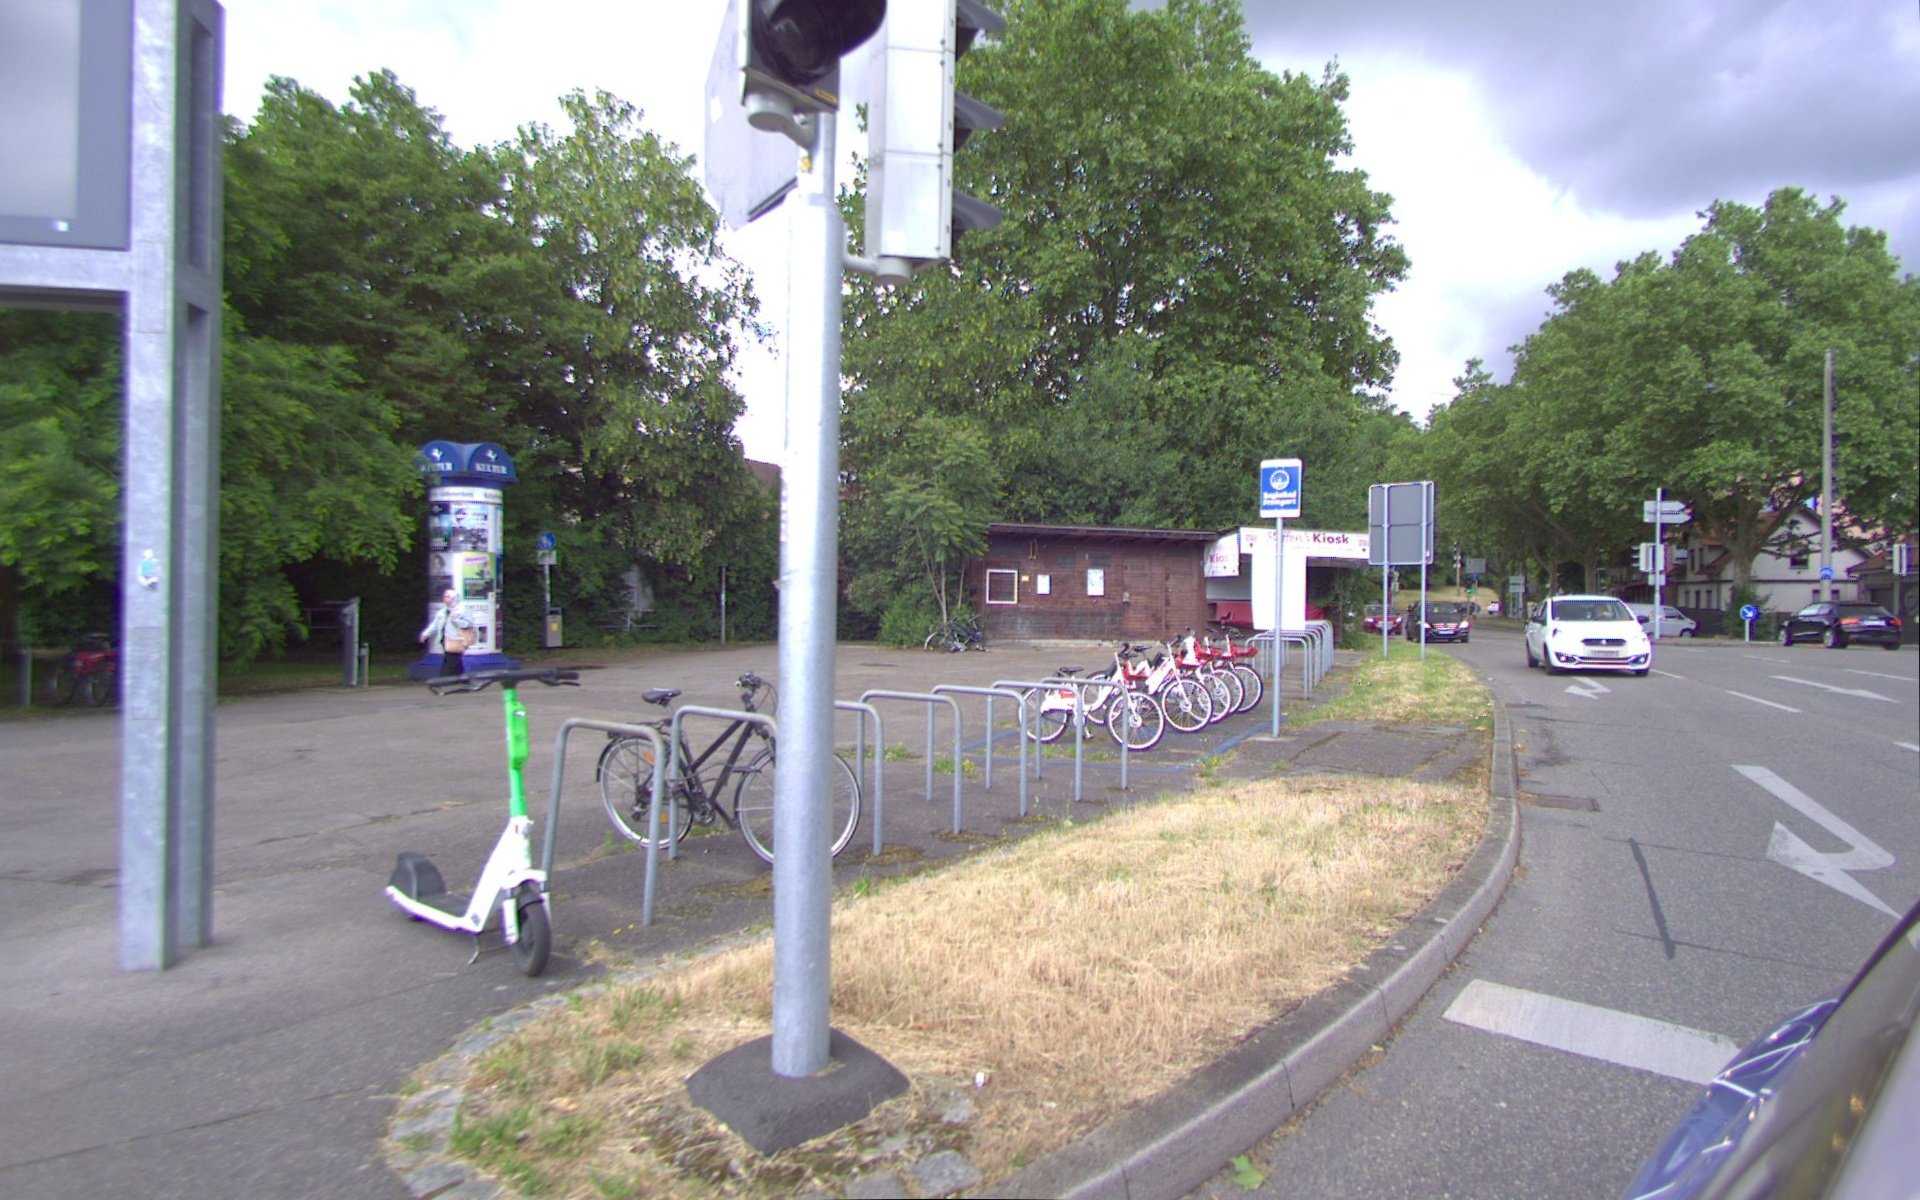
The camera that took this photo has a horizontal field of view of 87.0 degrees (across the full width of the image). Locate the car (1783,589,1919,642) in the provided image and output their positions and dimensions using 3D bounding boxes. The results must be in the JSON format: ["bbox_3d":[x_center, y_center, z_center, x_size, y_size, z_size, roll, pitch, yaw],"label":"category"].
[{"bbox_3d":[26.483,0.427,30.156,1.709,1.466,3.976,0,0,19],"label":"car"}]

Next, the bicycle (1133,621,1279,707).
[{"bbox_3d":[3.359,0.848,13.897,1.869,1.065,0.591,0,1,32],"label":"bicycle"}]

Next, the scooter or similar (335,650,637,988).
[{"bbox_3d":[-1.988,0.805,4.210,1.224,1.126,0.646,0,0,37],"label":"scooter or similar"}]

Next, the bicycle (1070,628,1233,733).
[{"bbox_3d":[2.250,0.915,11.963,1.796,1.130,0.577,0,1,27],"label":"bicycle"}]

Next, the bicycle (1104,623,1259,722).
[{"bbox_3d":[2.738,0.868,12.572,1.796,1.130,0.577,0,1,27],"label":"bicycle"}]

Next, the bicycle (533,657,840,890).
[{"bbox_3d":[-1.536,0.887,5.618,1.684,1.058,0.602,0,0,28],"label":"bicycle"}]

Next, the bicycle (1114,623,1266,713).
[{"bbox_3d":[3.007,0.862,13.317,1.869,1.065,0.591,0,1,32],"label":"bicycle"}]

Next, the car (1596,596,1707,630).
[{"bbox_3d":[38.061,0.716,55.782,4.799,1.720,1.731,1,1,1],"label":"car"}]

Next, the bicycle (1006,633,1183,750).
[{"bbox_3d":[1.436,0.942,10.881,1.796,1.130,0.577,0,1,27],"label":"bicycle"}]

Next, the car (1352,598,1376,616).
[{"bbox_3d":[32.991,0.530,82.713,1.775,1.450,3.615,0,0,21],"label":"car"}]

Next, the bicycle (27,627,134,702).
[{"bbox_3d":[-11.331,0.807,13.022,1.723,0.867,0.473,1,-1,29],"label":"bicycle"}]

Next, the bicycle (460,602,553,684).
[{"bbox_3d":[-8.130,0.742,18.138,1.643,1.389,0.639,1,-1,29],"label":"bicycle"}]

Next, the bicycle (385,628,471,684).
[{"bbox_3d":[-9.107,0.940,17.321,1.643,0.867,0.473,1,-1,29],"label":"bicycle"}]

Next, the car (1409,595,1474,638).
[{"bbox_3d":[18.264,0.606,38.527,1.699,1.551,4.161,0,-1,18],"label":"car"}]

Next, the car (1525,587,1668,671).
[{"bbox_3d":[12.138,0.514,19.529,1.655,1.466,3.578,-1,0,22],"label":"car"}]

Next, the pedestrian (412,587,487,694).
[{"bbox_3d":[-7.568,0.578,15.004,0.664,1.533,0.749,0,0,25],"label":"pedestrian"}]

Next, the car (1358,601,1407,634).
[{"bbox_3d":[22.794,0.903,54.727,1.870,1.637,4.487,0,1,15],"label":"car"}]
